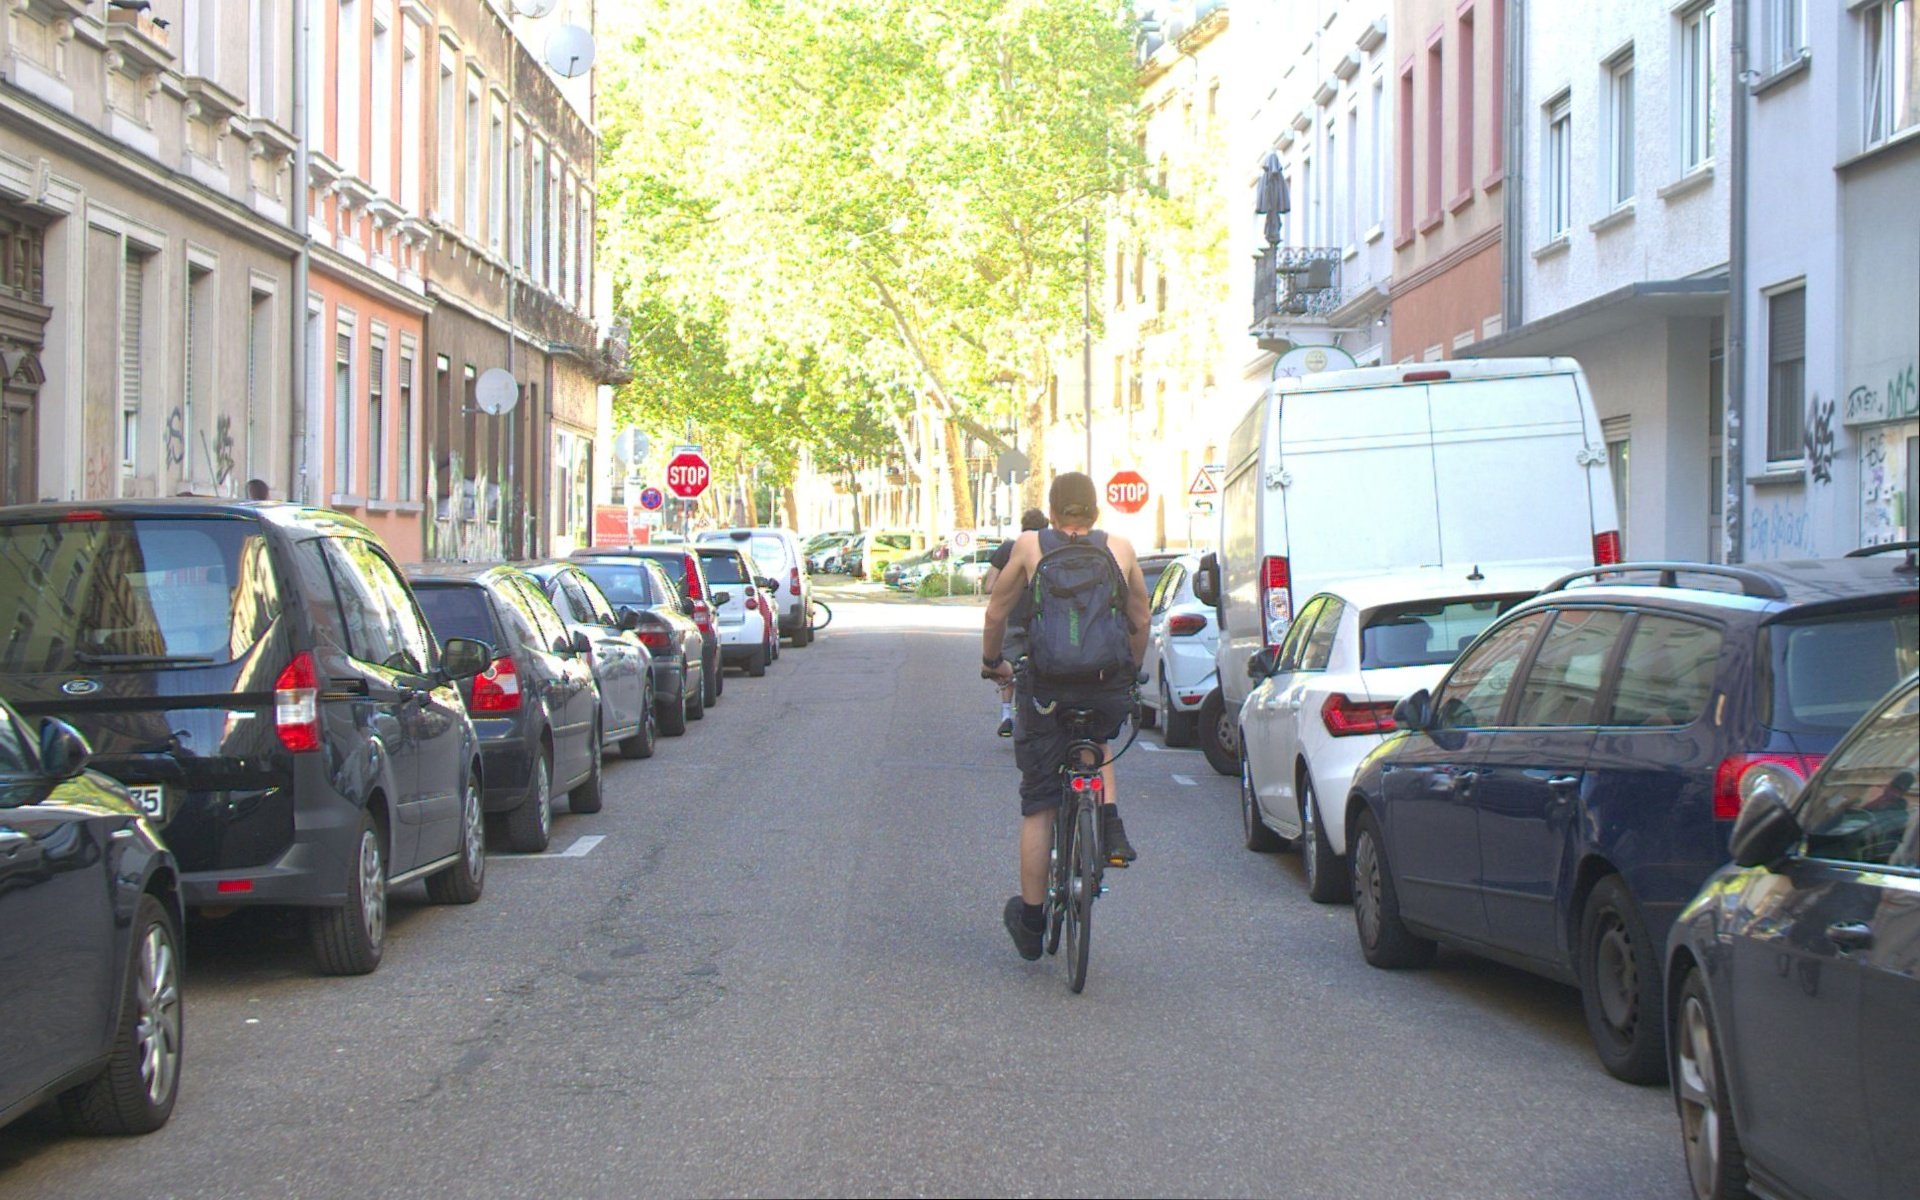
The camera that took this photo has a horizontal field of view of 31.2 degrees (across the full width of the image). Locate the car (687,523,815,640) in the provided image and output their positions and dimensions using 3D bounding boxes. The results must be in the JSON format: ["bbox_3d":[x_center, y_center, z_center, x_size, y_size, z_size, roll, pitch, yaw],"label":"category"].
[{"bbox_3d":[-3.190,-0.314,53.004,1.787,1.731,3.876,0,1,-1],"label":"car"}]

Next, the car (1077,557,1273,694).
[{"bbox_3d":[2.200,0.225,36.084,1.657,1.334,4.001,0,1,-2],"label":"car"}]

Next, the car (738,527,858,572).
[{"bbox_3d":[-6.166,-1.905,130.421,4.468,1.690,1.867,0,1,-4],"label":"car"}]

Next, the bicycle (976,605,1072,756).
[{"bbox_3d":[0.458,0.577,25.495,0.664,1.034,1.959,0,1,0],"label":"bicycle"}]

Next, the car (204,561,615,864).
[{"bbox_3d":[-2.844,0.524,18.437,1.592,1.435,3.654,0,1,0],"label":"car"}]

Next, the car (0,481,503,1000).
[{"bbox_3d":[-2.971,0.448,13.456,1.801,1.692,4.000,-2,1,0],"label":"car"}]

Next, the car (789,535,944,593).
[{"bbox_3d":[-2.778,-1.065,101.337,4.468,1.690,1.867,0,1,-4],"label":"car"}]

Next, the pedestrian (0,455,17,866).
[{"bbox_3d":[-4.388,0.284,14.298,0.651,1.811,0.754,3,1,0],"label":"pedestrian"}]

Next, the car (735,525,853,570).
[{"bbox_3d":[-6.425,-2.030,132.660,4.468,1.690,1.867,0,1,-4],"label":"car"}]

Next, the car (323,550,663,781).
[{"bbox_3d":[-3.085,0.381,23.412,1.674,1.425,3.888,0,1,2],"label":"car"}]

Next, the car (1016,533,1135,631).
[{"bbox_3d":[2.118,-0.355,63.960,1.893,1.763,4.001,0,1,-3],"label":"car"}]

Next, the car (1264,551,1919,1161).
[{"bbox_3d":[2.514,0.640,11.462,1.811,1.473,4.610,-3,2,-10],"label":"car"}]

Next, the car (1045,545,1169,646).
[{"bbox_3d":[2.269,-0.094,53.740,1.652,1.525,3.575,0,1,-2],"label":"car"}]

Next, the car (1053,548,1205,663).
[{"bbox_3d":[2.251,0.042,46.633,1.710,1.465,4.001,0,1,-2],"label":"car"}]

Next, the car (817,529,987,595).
[{"bbox_3d":[-1.592,-1.036,92.498,4.468,1.753,1.867,0,1,-4],"label":"car"}]

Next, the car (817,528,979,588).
[{"bbox_3d":[-1.775,-1.199,97.253,4.468,1.690,1.867,0,1,-4],"label":"car"}]

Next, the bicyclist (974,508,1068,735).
[{"bbox_3d":[0.447,0.146,25.445,0.669,1.653,0.877,0,1,0],"label":"bicyclist"}]

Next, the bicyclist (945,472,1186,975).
[{"bbox_3d":[0.353,0.407,12.150,0.740,1.673,1.117,2,1,-1],"label":"bicyclist"}]

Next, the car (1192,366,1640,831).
[{"bbox_3d":[2.696,-0.066,21.842,2.204,2.542,6.036,0,1,2],"label":"car"}]

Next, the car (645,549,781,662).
[{"bbox_3d":[-3.168,0.040,44.570,1.552,1.395,3.668,0,1,-1],"label":"car"}]

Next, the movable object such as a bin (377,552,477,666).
[{"bbox_3d":[-5.588,0.091,36.060,0.834,1.122,0.716,-4,1,2],"label":"movable object such as a bin"}]

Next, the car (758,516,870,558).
[{"bbox_3d":[-5.904,-2.552,138.862,4.468,1.690,1.867,0,1,-4],"label":"car"}]

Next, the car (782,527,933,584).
[{"bbox_3d":[-3.109,-1.345,103.842,4.468,1.690,1.867,0,1,-4],"label":"car"}]

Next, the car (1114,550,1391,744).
[{"bbox_3d":[2.336,0.329,28.379,1.731,1.465,4.022,0,1,-3],"label":"car"}]

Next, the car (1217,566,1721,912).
[{"bbox_3d":[2.291,0.567,16.408,1.725,1.424,3.833,0,1,-2],"label":"car"}]

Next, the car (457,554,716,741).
[{"bbox_3d":[-3.011,0.335,28.472,1.706,1.409,4.302,0,1,0],"label":"car"}]

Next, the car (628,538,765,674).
[{"bbox_3d":[-3.099,0.041,40.805,1.544,1.545,3.466,0,1,-3],"label":"car"}]

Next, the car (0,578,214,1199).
[{"bbox_3d":[-2.919,0.688,7.499,1.736,1.422,4.000,0,1,0],"label":"car"}]

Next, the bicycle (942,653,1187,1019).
[{"bbox_3d":[0.334,0.785,12.214,0.740,1.097,2.042,2,1,-1],"label":"bicycle"}]

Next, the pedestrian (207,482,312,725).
[{"bbox_3d":[-5.494,0.020,26.990,0.610,1.851,0.754,3,1,-1],"label":"pedestrian"}]

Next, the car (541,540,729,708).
[{"bbox_3d":[-3.110,0.190,33.431,1.604,1.525,3.379,-1,1,-2],"label":"car"}]

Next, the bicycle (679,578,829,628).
[{"bbox_3d":[-3.741,0.048,62.519,2.715,0.889,0.619,0,1,-3],"label":"bicycle"}]

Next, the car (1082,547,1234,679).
[{"bbox_3d":[2.331,0.121,41.175,1.592,1.487,3.876,0,1,0],"label":"car"}]

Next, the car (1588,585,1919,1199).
[{"bbox_3d":[2.487,0.743,6.573,1.746,1.480,4.243,0,1,-1],"label":"car"}]
